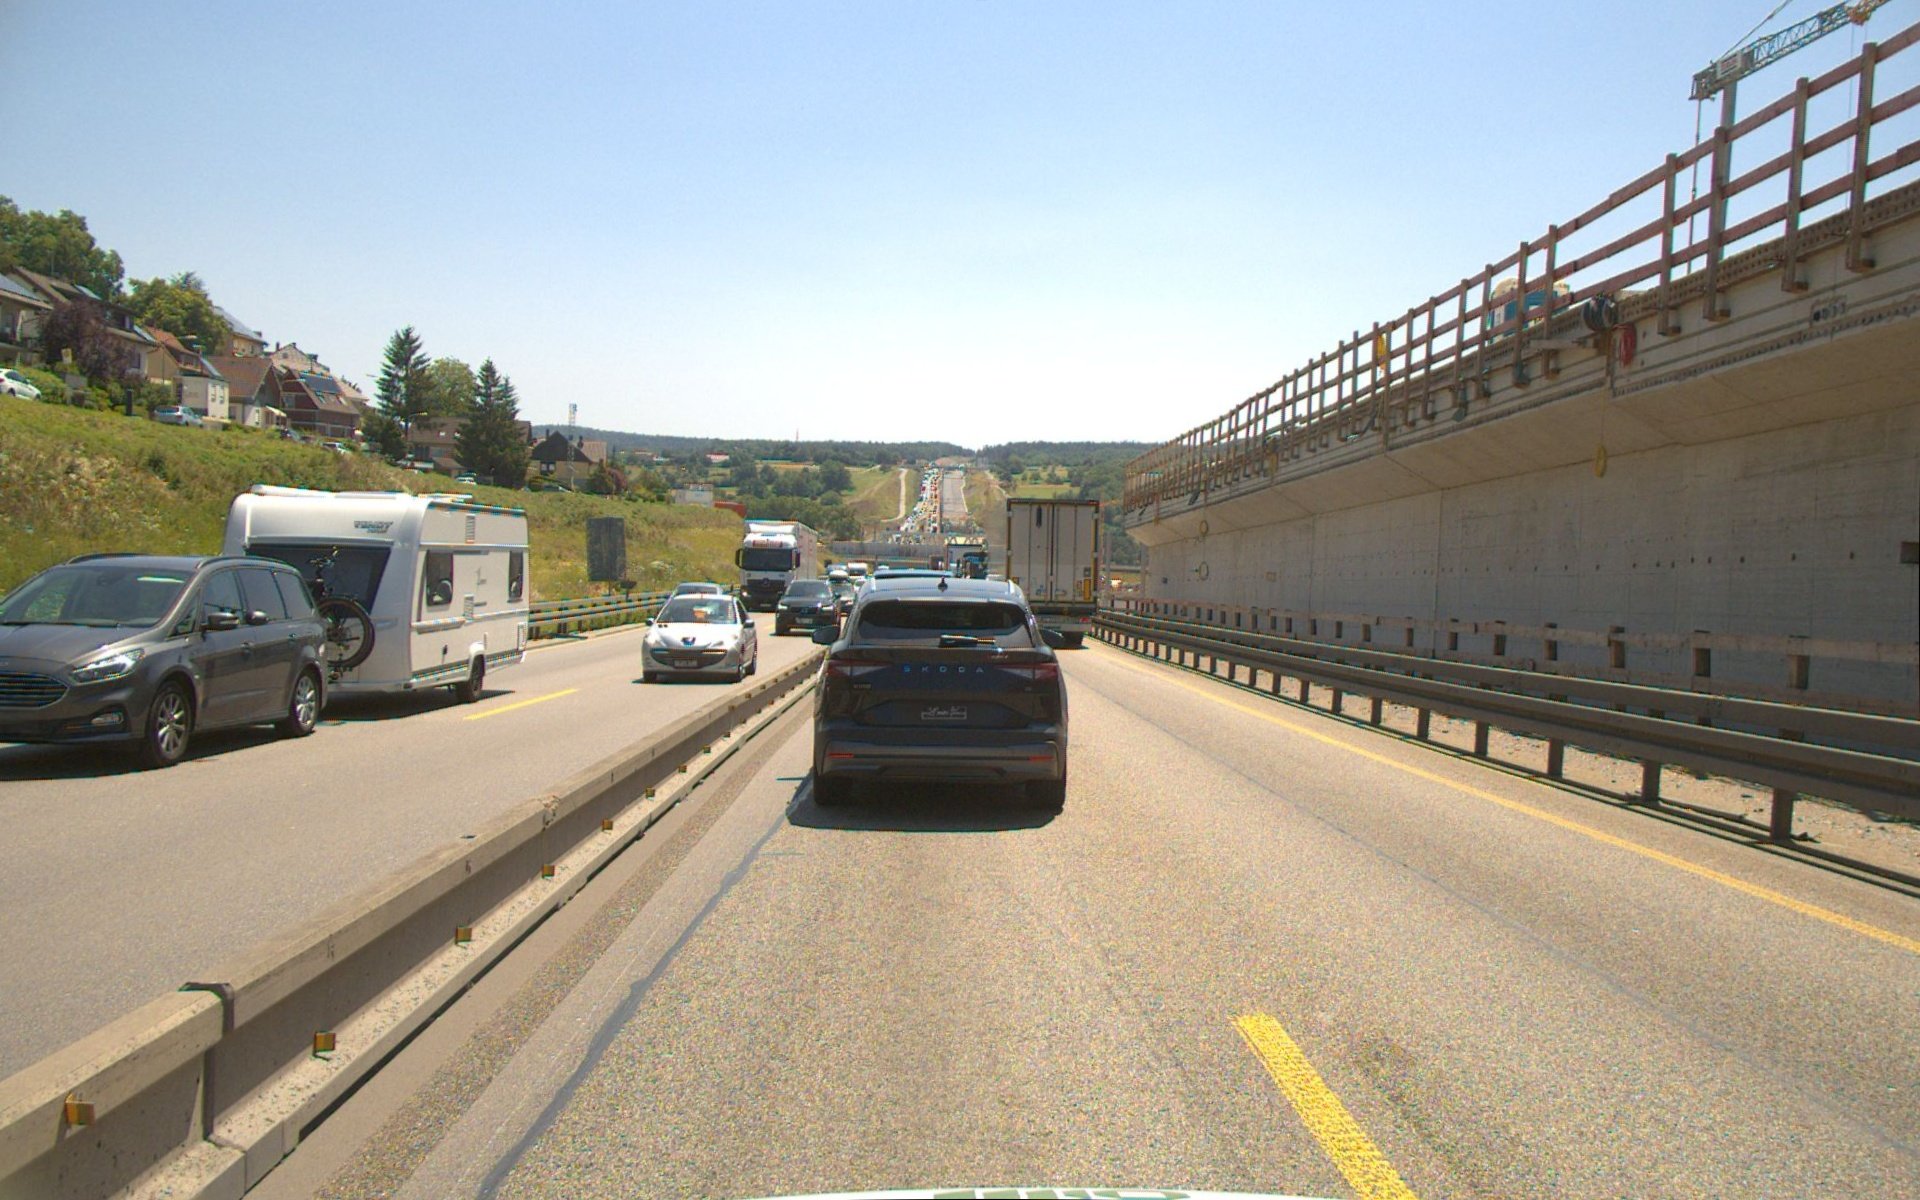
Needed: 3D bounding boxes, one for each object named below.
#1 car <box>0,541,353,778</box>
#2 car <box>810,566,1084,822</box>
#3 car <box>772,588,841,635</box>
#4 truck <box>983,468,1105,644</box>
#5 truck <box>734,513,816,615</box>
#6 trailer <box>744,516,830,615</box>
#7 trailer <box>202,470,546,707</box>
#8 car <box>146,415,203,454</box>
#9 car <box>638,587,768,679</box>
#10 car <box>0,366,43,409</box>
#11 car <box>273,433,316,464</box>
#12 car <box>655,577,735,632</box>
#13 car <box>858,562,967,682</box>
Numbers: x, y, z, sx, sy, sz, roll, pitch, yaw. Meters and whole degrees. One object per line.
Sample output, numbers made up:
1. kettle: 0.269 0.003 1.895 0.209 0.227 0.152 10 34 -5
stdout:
1. car: -7.125 0.423 14.612 1.839 1.742 4.647 1 0 -1
2. car: -0.167 0.612 12.621 1.747 1.625 3.753 1 0 -3
3. car: -4.640 0.368 50.551 1.735 1.311 3.999 2 -1 -1
4. truck: 2.380 -1.135 51.081 2.788 4.696 11.807 2 -1 -1
5. truck: -8.598 -1.554 77.834 2.698 4.300 8.097 5 -1 -1
6. trailer: -8.679 -1.548 84.796 2.705 4.347 14.630 5 -1 -1
7. trailer: -7.336 -0.094 21.584 2.434 2.659 5.866 0 -1 -1
8. car: -43.433 -9.127 91.512 1.891 1.758 3.988 1 0 -12
9. car: -4.361 0.560 28.566 1.668 1.466 3.999 0 -1 -1
10. car: -41.814 -9.347 72.178 1.959 1.342 3.987 5 -1 -12
11. car: -46.474 -10.566 115.570 1.720 1.758 3.996 1 0 -5
12. car: -8.112 0.163 50.967 1.835 1.467 3.998 5 -1 -2
13. car: -0.926 0.370 30.025 1.715 1.928 3.752 4 0 -4
